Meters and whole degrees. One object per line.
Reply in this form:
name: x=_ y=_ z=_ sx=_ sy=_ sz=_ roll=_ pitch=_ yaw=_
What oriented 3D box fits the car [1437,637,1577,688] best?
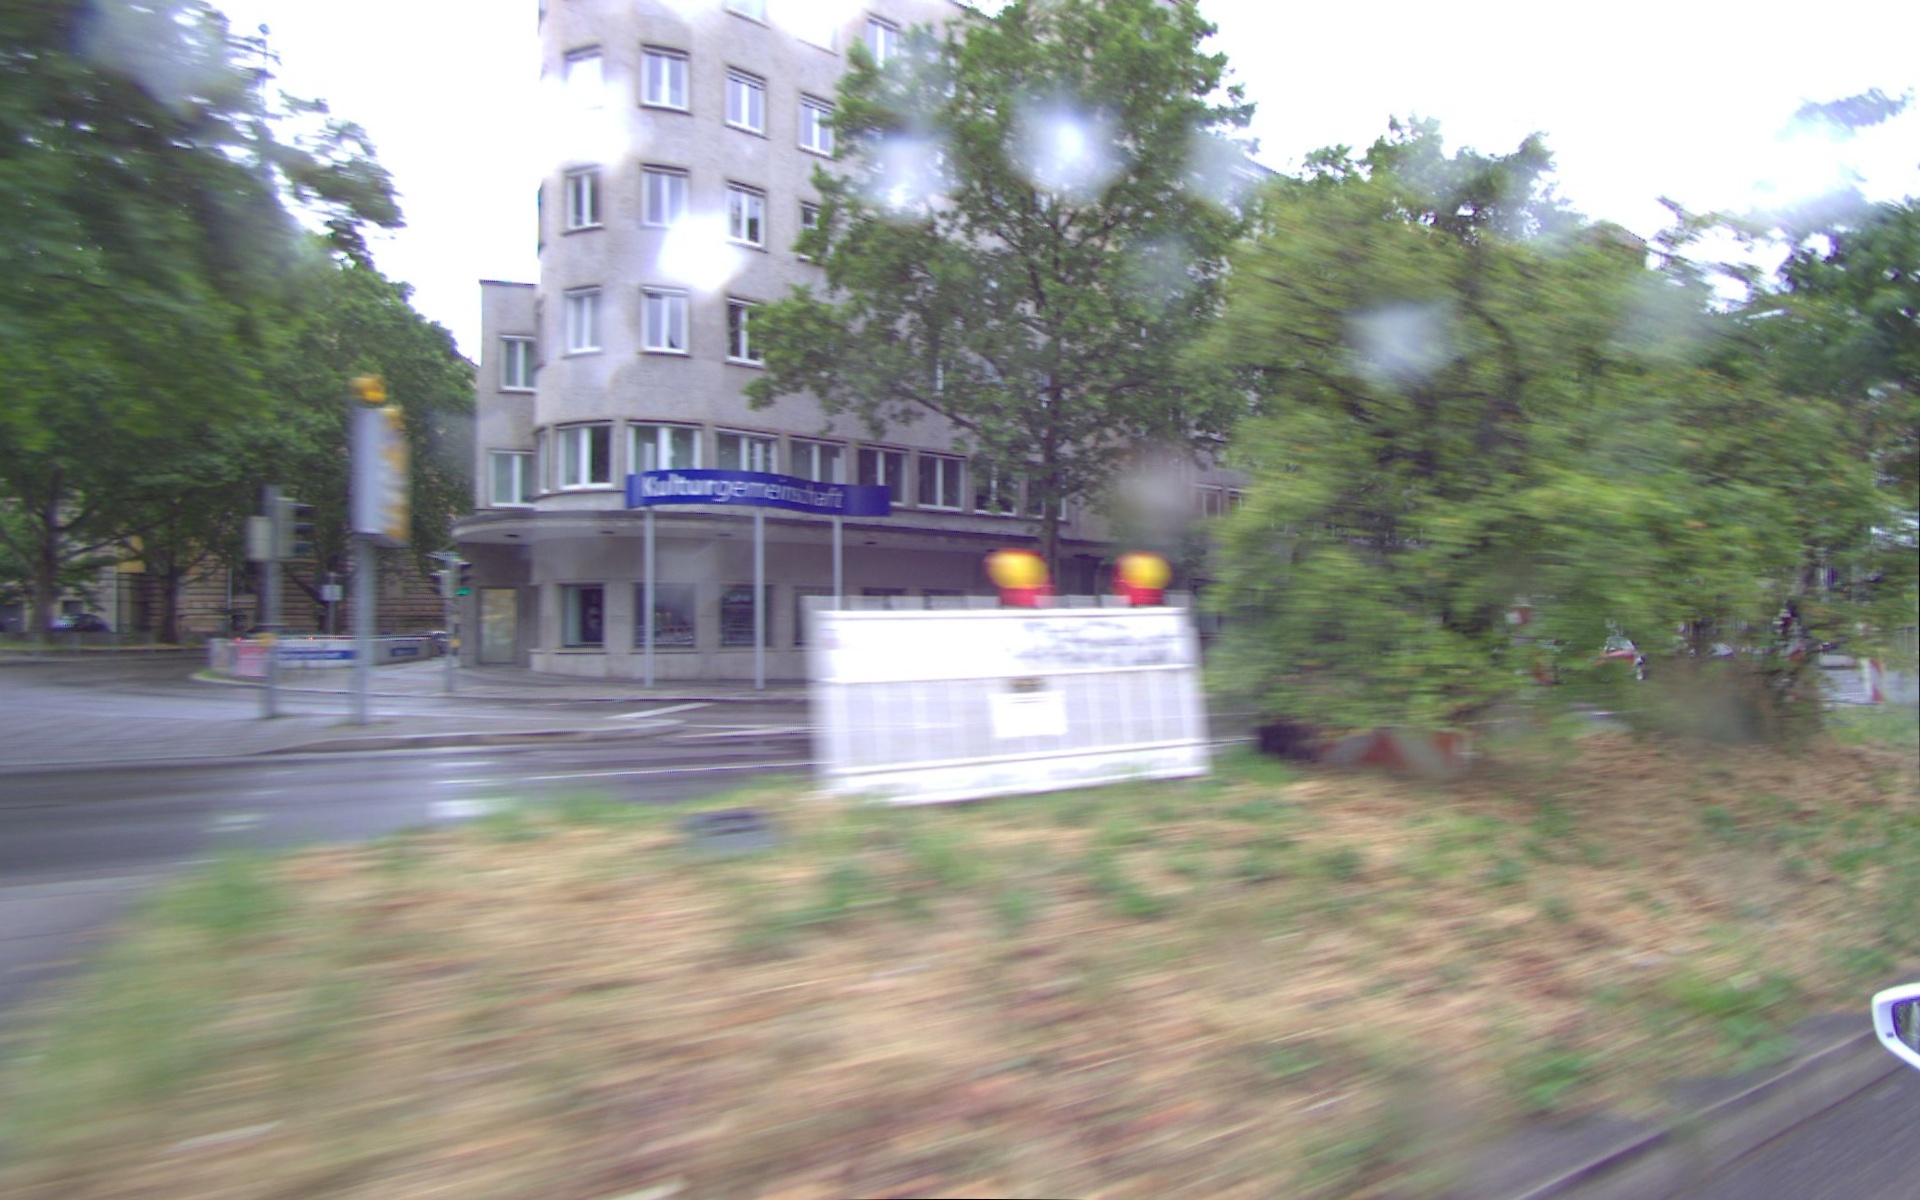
car: x=16.798 y=1.904 z=30.787 sx=4.621 sy=1.453 sz=1.759 roll=2 pitch=-5 yaw=-33

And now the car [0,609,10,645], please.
car: x=-42.532 y=1.148 z=42.407 sx=1.715 sy=1.572 sz=3.972 roll=1 pitch=-1 yaw=-13

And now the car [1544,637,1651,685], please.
car: x=21.245 y=2.029 z=33.435 sx=3.588 sy=1.539 sz=1.677 roll=2 pitch=-5 yaw=-34

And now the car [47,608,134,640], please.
car: x=-45.165 y=1.237 z=52.270 sx=1.715 sy=1.572 sz=3.972 roll=1 pitch=-1 yaw=-13
